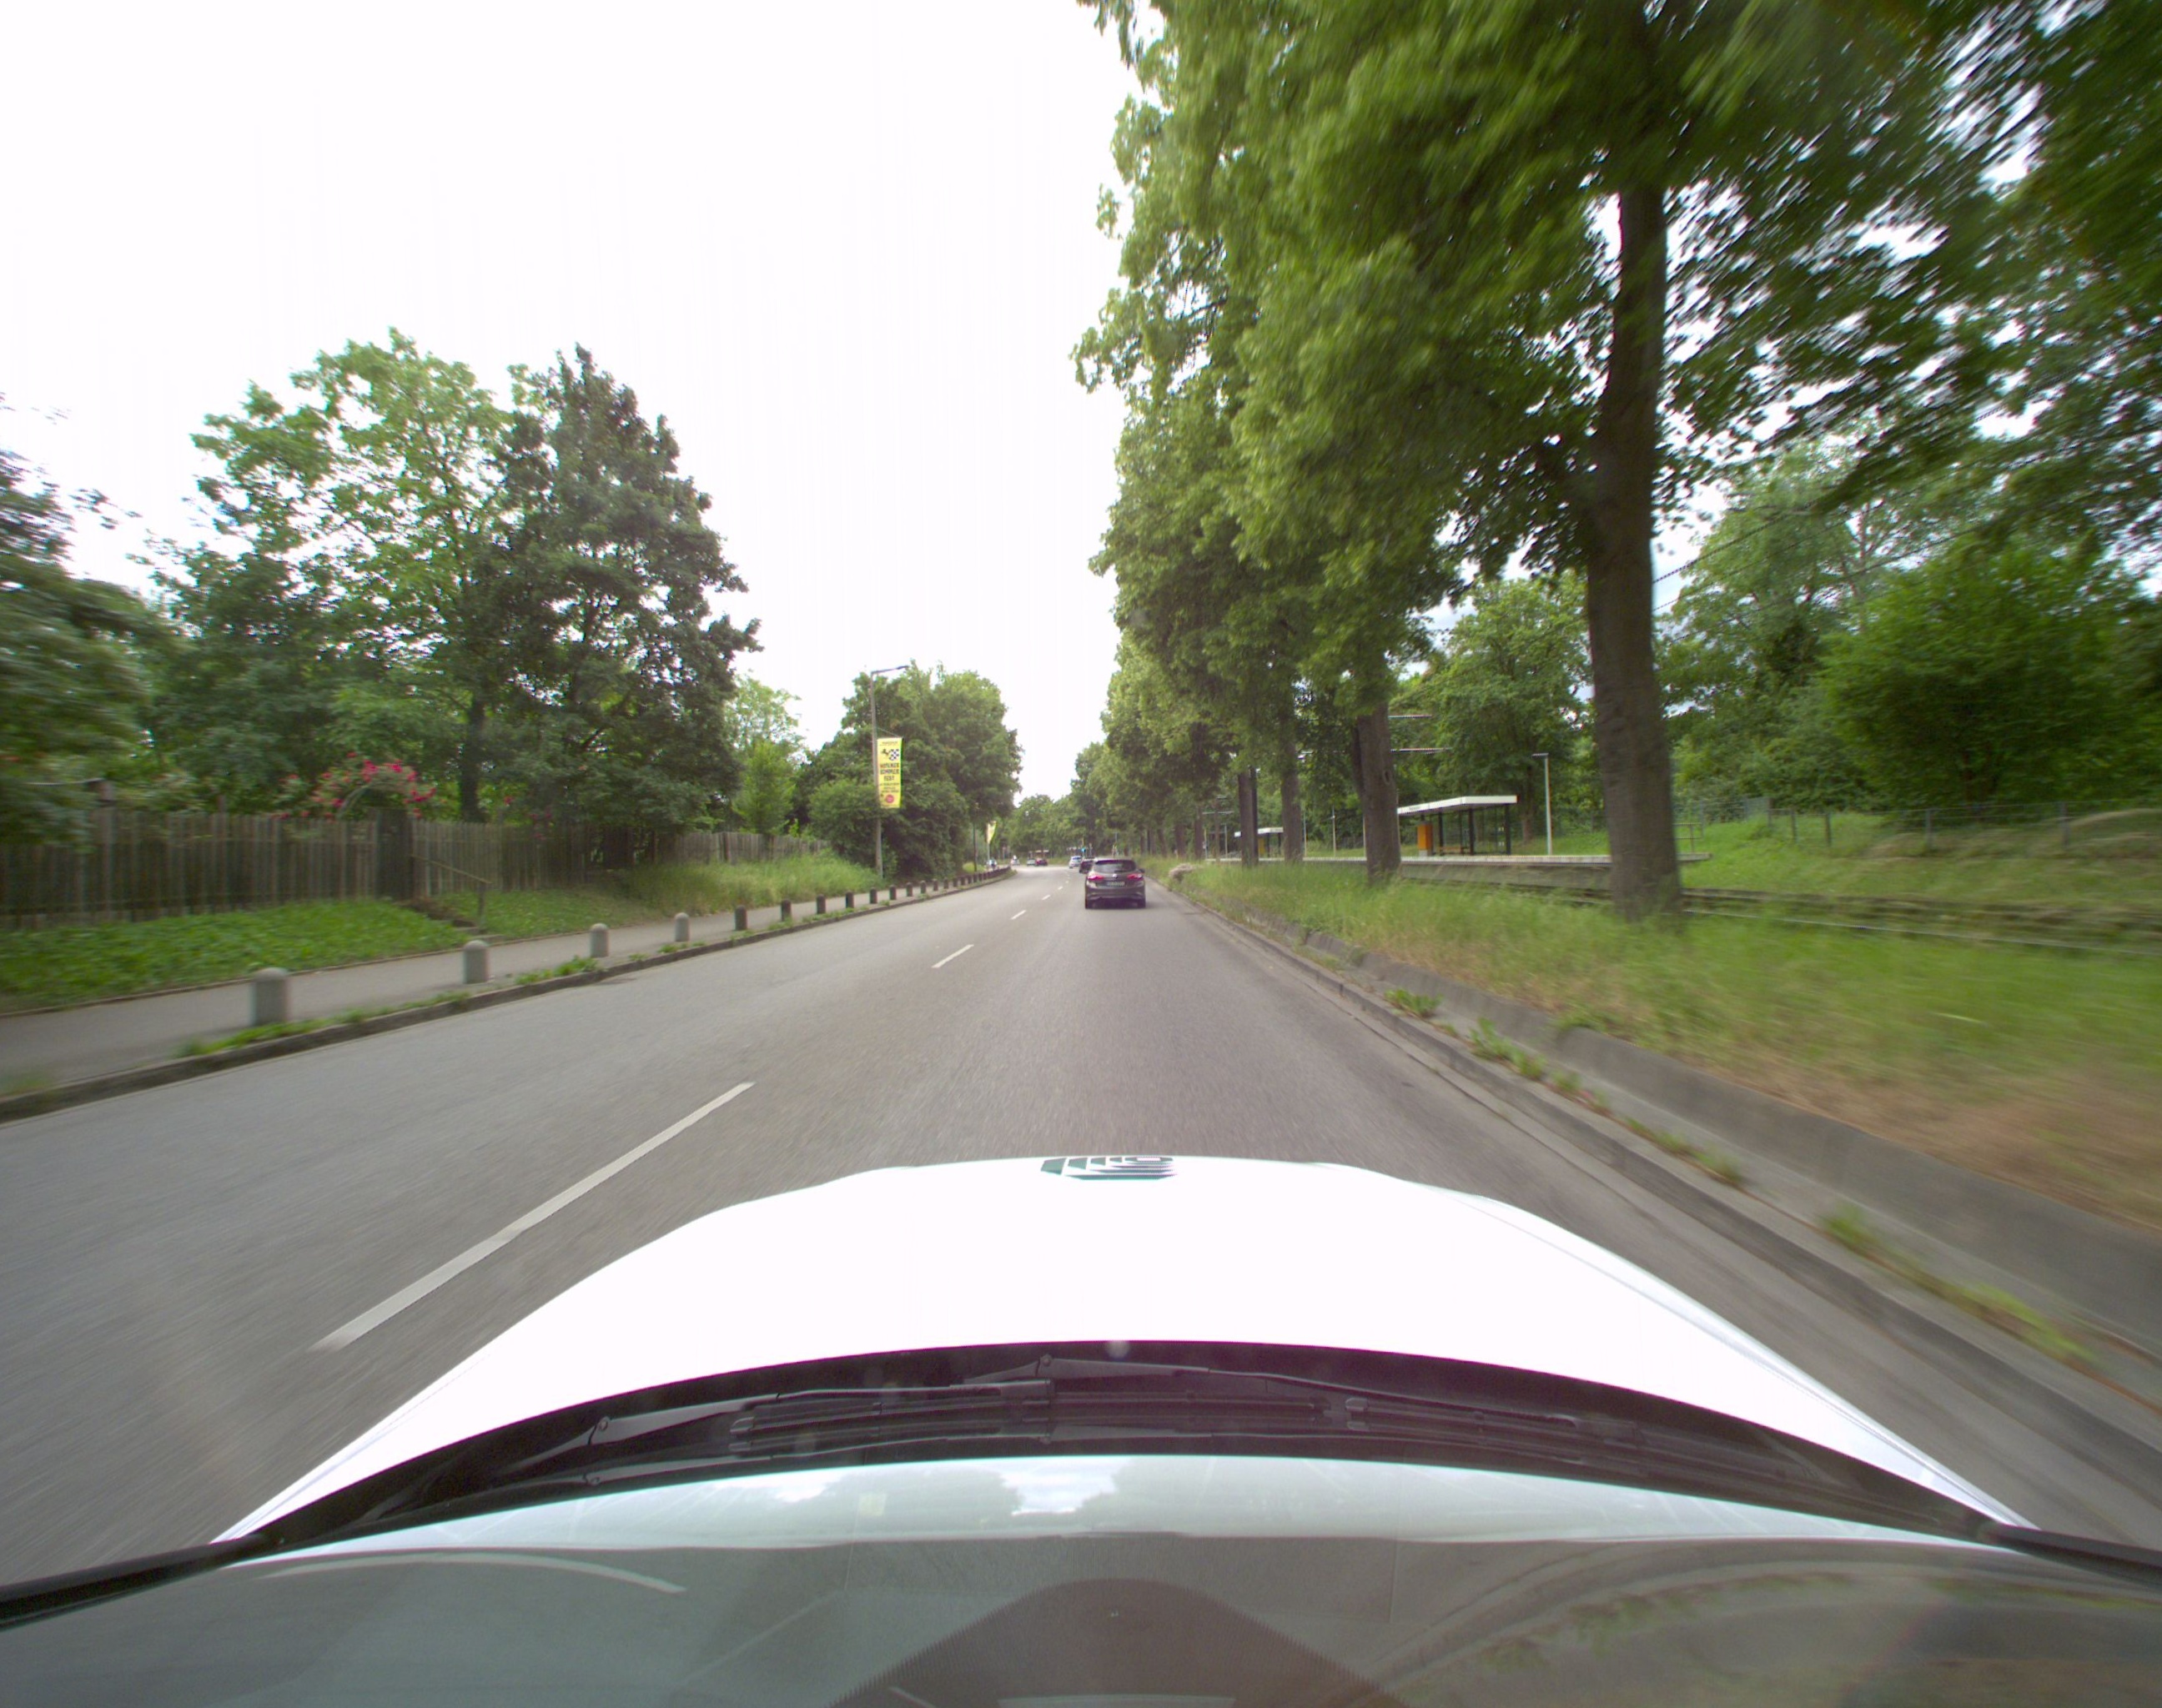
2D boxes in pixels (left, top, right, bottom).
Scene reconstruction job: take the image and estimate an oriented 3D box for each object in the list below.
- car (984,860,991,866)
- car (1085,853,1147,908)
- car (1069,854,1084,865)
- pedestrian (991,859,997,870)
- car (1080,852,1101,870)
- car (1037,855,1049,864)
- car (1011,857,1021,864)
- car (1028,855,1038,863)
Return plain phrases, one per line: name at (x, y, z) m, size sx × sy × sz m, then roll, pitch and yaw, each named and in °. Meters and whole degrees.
car at (-24.109, 2.410, 210.018) m, size 1.560 × 1.441 × 3.542 m, roll -1°, pitch 0°, yaw -8°
car at (1.035, 0.750, 24.688) m, size 1.724 × 1.537 × 3.552 m, roll -1°, pitch 0°, yaw 1°
car at (-0.542, 0.671, 102.347) m, size 1.559 × 1.441 × 3.544 m, roll -1°, pitch 0°, yaw -6°
pedestrian at (-10.960, 1.287, 102.397) m, size 0.720 × 1.368 × 0.653 m, roll -1°, pitch 0°, yaw -7°
car at (0.852, 0.612, 71.433) m, size 1.724 × 1.537 × 3.552 m, roll -1°, pitch 0°, yaw 1°
car at (-6.583, 0.909, 140.426) m, size 1.561 × 1.441 × 3.540 m, roll -1°, pitch 0°, yaw -9°
car at (-14.246, 1.463, 178.859) m, size 1.563 × 1.441 × 3.536 m, roll -1°, pitch 0°, yaw -13°
car at (-9.198, 1.005, 155.440) m, size 1.561 × 1.441 × 3.540 m, roll -1°, pitch 0°, yaw -9°
